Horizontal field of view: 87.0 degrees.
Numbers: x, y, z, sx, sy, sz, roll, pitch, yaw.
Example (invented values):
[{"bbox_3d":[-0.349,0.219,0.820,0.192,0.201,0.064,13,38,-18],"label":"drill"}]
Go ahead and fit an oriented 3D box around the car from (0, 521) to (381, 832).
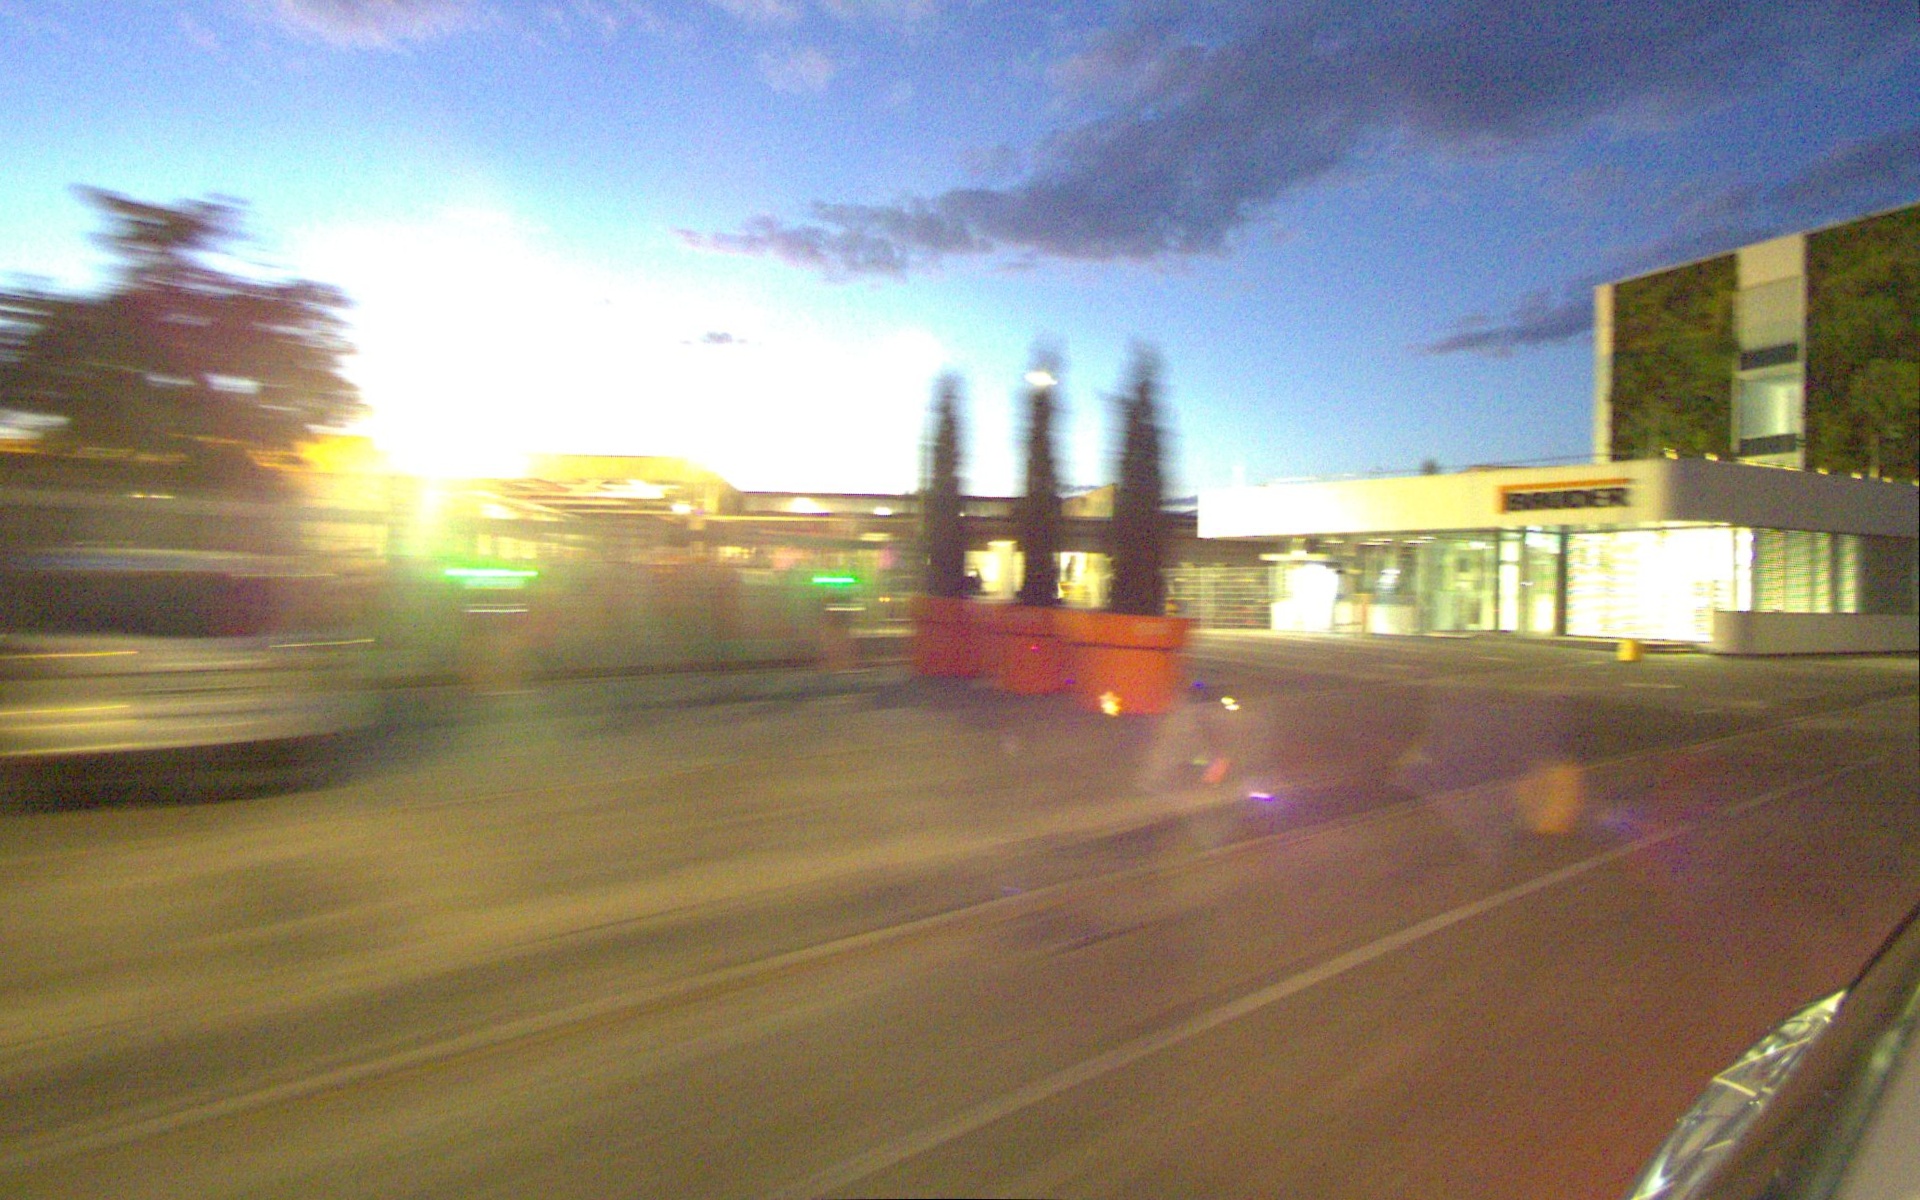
[{"bbox_3d":[-6.095,0.300,7.617,4.328,1.666,1.862,5,3,44],"label":"car"}]
